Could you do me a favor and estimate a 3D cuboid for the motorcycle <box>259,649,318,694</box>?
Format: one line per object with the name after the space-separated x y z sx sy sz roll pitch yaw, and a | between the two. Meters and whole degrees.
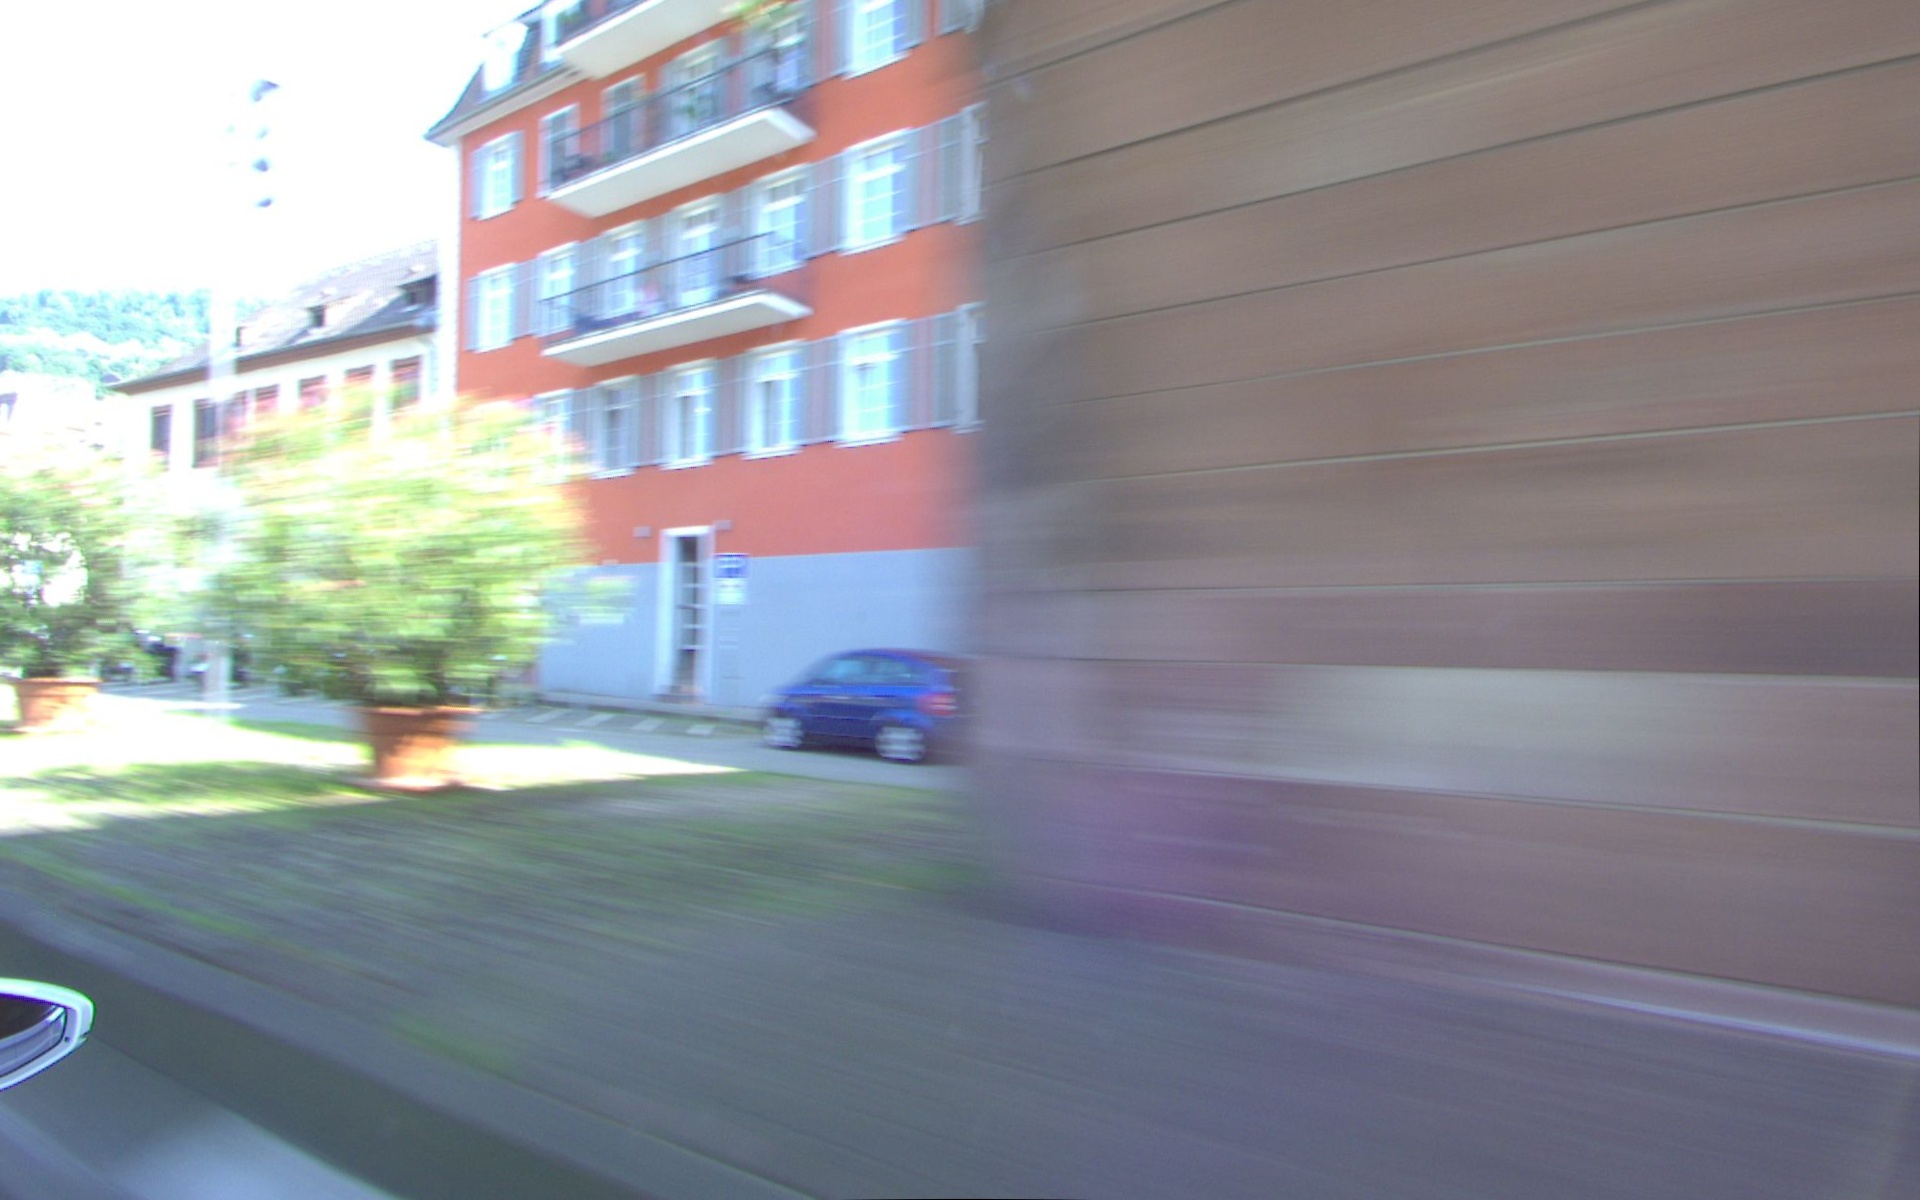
-16.131 1.690 24.082 0.537 0.999 1.930 1 -2 -14 | motorcycle

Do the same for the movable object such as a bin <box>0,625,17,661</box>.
-30.790 1.320 30.769 1.235 1.124 2.954 1 -1 -11 | movable object such as a bin

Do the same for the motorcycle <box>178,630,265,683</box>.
-18.908 1.423 25.696 0.768 1.283 2.183 1 -2 -6 | motorcycle

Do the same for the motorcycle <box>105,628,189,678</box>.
-21.641 1.383 26.705 0.616 1.283 2.198 1 -2 -6 | motorcycle

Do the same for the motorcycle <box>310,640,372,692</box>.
-14.822 1.557 24.032 0.617 1.162 2.195 1 -2 -14 | motorcycle

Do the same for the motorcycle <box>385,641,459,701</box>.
-12.102 1.574 22.598 0.827 1.249 2.152 2 -1 -11 | motorcycle

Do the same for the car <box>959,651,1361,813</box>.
2.299 1.415 11.988 4.357 1.511 1.888 -1 -2 35 | car

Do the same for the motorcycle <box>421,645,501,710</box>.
-10.588 1.613 21.352 0.827 1.249 2.542 2 -2 -11 | motorcycle

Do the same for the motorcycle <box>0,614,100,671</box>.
-26.264 1.198 28.893 1.034 1.553 2.496 1 0 -9 | motorcycle

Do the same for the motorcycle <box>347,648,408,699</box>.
-13.517 1.689 23.304 0.617 1.090 2.195 1 -2 -14 | motorcycle
